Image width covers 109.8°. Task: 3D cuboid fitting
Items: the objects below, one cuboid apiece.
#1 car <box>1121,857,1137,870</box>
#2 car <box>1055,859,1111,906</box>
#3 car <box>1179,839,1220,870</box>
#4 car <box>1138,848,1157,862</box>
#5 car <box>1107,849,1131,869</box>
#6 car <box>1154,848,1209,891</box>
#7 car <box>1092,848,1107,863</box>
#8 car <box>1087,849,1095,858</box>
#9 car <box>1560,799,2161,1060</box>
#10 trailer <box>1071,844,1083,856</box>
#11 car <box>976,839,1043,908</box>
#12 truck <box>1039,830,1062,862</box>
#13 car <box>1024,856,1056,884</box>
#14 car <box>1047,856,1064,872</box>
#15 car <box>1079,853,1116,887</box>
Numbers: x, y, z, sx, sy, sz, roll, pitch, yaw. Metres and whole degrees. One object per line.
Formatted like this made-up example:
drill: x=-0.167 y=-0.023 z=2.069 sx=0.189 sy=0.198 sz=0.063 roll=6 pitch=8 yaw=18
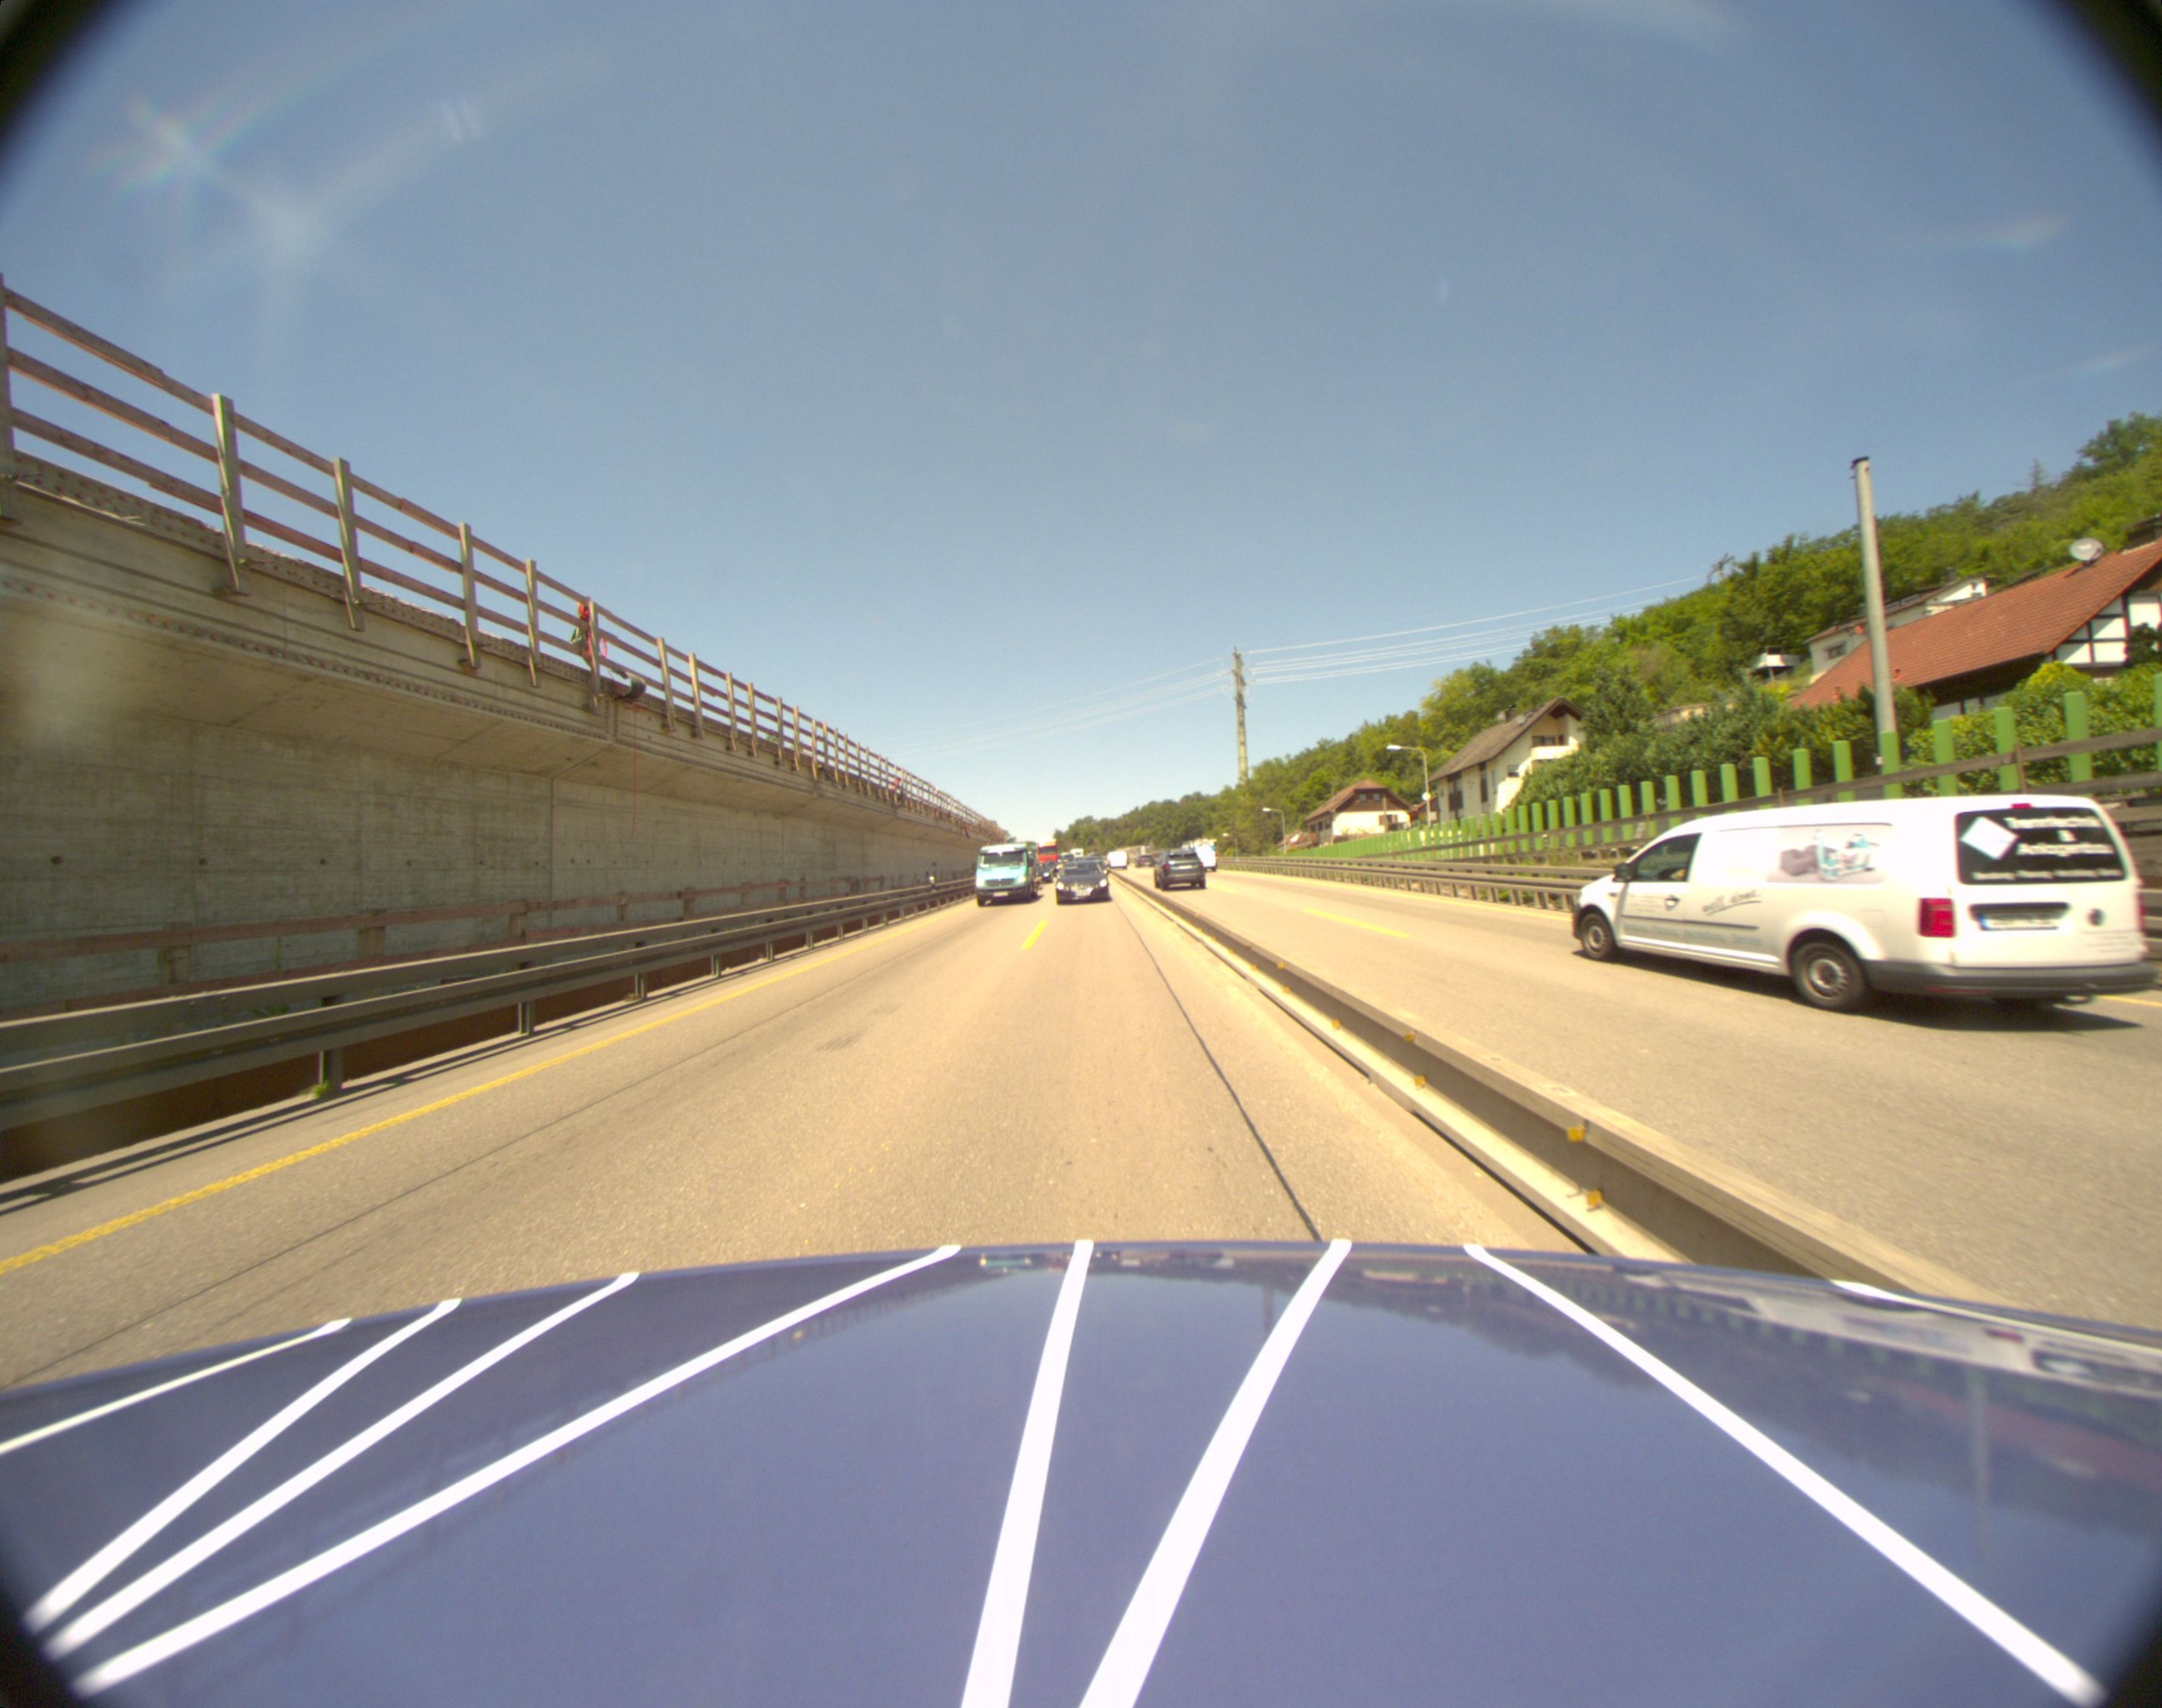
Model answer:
car: x=6.886 y=1.376 z=109.543 sx=1.998 sy=1.816 sz=4.510 roll=0 pitch=-2 yaw=0
car: x=0.020 y=0.953 z=27.263 sx=1.793 sy=1.440 sz=4.297 roll=-2 pitch=0 yaw=-2
car: x=8.109 y=0.050 z=52.490 sx=1.830 sy=1.914 sz=5.242 roll=-3 pitch=0 yaw=-1
car: x=7.200 y=0.096 z=82.530 sx=1.753 sy=1.434 sz=4.052 roll=-4 pitch=1 yaw=1
car: x=3.940 y=0.469 z=79.082 sx=2.162 sy=1.895 sz=5.325 roll=-3 pitch=1 yaw=1
car: x=4.163 y=0.603 z=31.990 sx=1.779 sy=1.624 sz=4.100 roll=-3 pitch=0 yaw=1
car: x=2.735 y=0.224 z=112.091 sx=1.998 sy=2.002 sz=4.968 roll=-2 pitch=1 yaw=1
car: x=2.370 y=-0.163 z=178.684 sx=1.998 sy=2.002 sz=4.000 roll=-2 pitch=0 yaw=1
car: x=7.154 y=0.511 z=7.746 sx=1.600 sy=1.823 sz=4.752 roll=-1 pitch=1 yaw=1
trailer: x=-0.925 y=-0.914 z=175.122 sx=2.606 sy=2.573 sz=6.240 roll=-4 pitch=1 yaw=-1
car: x=-2.749 y=0.687 z=31.021 sx=1.968 sy=2.367 sz=7.209 roll=-4 pitch=0 yaw=-1
truck: x=-4.061 y=-1.072 z=103.481 sx=2.651 sy=3.978 sz=11.194 roll=-5 pitch=1 yaw=-1
car: x=-2.725 y=1.047 z=51.360 sx=1.859 sy=1.650 sz=3.999 roll=-5 pitch=1 yaw=-1
car: x=-2.816 y=1.106 z=84.880 sx=1.674 sy=1.499 sz=3.648 roll=-5 pitch=1 yaw=1
car: x=0.895 y=0.853 z=43.212 sx=1.859 sy=1.650 sz=3.999 roll=-5 pitch=1 yaw=-1
